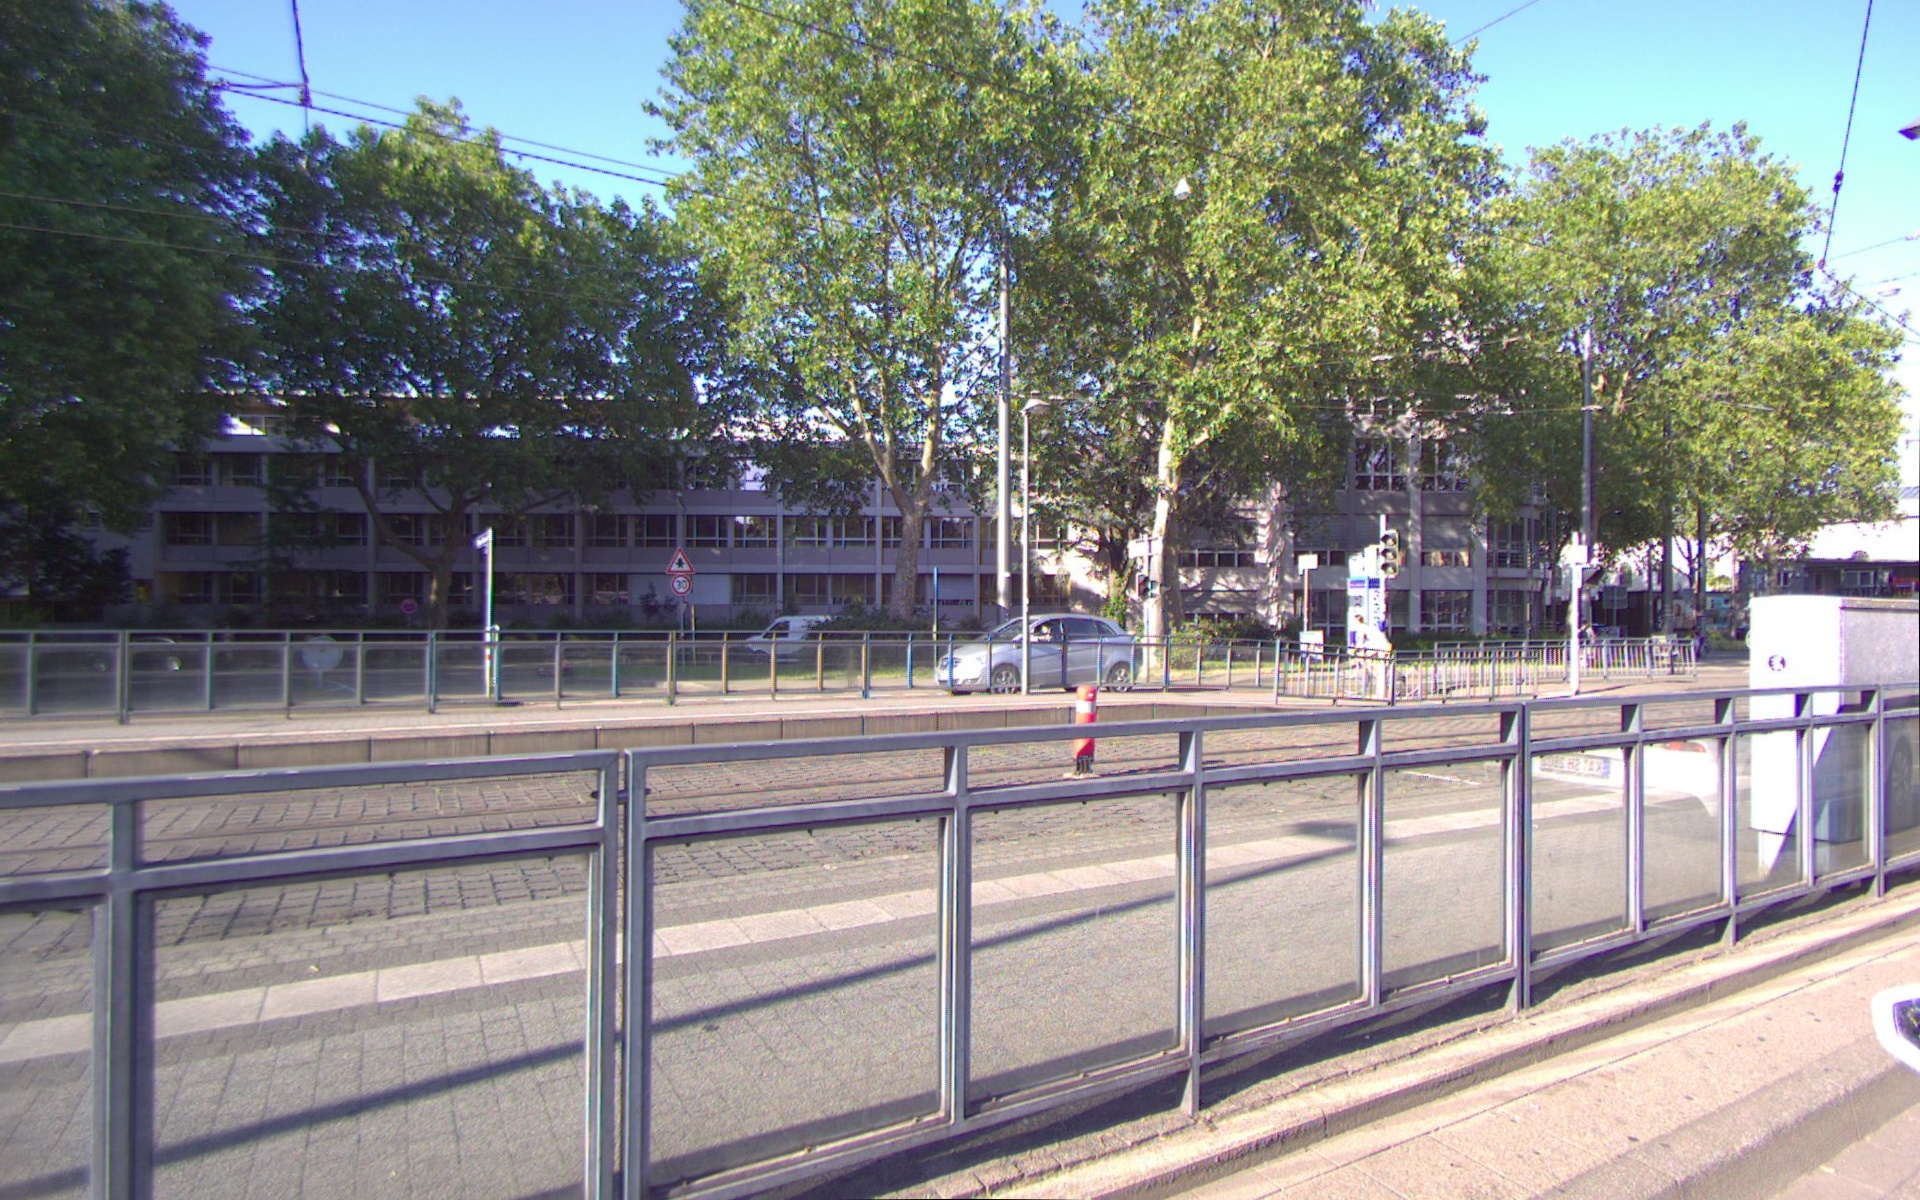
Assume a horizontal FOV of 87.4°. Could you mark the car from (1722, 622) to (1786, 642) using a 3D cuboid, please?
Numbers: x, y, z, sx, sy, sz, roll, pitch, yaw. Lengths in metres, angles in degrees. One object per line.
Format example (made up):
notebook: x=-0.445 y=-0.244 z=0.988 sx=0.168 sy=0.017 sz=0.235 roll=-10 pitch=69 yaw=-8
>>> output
car: x=64.239 y=2.578 z=81.251 sx=3.925 sy=1.530 sz=1.798 roll=1 pitch=-1 yaw=-6

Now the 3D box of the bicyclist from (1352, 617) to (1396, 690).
bicyclist: x=8.409 y=1.071 z=20.390 sx=0.788 sy=1.433 sz=0.527 roll=1 pitch=0 yaw=25

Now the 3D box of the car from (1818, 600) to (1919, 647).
car: x=64.534 y=1.666 z=70.807 sx=6.413 sy=3.207 sz=2.501 roll=1 pitch=0 yaw=-7

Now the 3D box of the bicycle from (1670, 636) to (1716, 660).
bicycle: x=36.238 y=2.355 z=49.681 sx=0.494 sy=1.122 sz=1.788 roll=1 pitch=-1 yaw=-27

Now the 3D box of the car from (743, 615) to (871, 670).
car: x=-6.935 y=1.922 z=45.997 sx=5.616 sy=2.366 sz=2.156 roll=1 pitch=0 yaw=-6

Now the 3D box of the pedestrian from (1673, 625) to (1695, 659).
pedestrian: x=35.755 y=2.067 z=49.588 sx=0.642 sy=1.683 sz=0.646 roll=1 pitch=0 yaw=-27

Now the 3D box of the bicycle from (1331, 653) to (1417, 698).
bicycle: x=8.403 y=1.516 z=20.390 sx=1.586 sy=0.827 sz=0.527 roll=0 pitch=-1 yaw=26

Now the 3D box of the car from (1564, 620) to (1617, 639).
car: x=54.463 y=2.518 z=86.837 sx=1.767 sy=1.530 sz=3.994 roll=1 pitch=0 yaw=-8

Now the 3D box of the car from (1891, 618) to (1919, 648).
car: x=65.174 y=2.232 z=67.570 sx=3.929 sy=1.982 sz=1.796 roll=1 pitch=-1 yaw=-11

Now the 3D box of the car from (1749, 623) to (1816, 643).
car: x=64.226 y=2.561 z=78.466 sx=3.925 sy=1.530 sz=1.798 roll=1 pitch=-1 yaw=-6

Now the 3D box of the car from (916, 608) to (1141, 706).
car: x=1.368 y=1.062 z=19.669 sx=4.114 sy=1.715 sz=1.806 roll=1 pitch=0 yaw=-32

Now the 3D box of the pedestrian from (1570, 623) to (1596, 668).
pedestrian: x=21.953 y=1.606 z=35.385 sx=0.669 sy=1.572 sz=0.533 roll=1 pitch=0 yaw=-30
